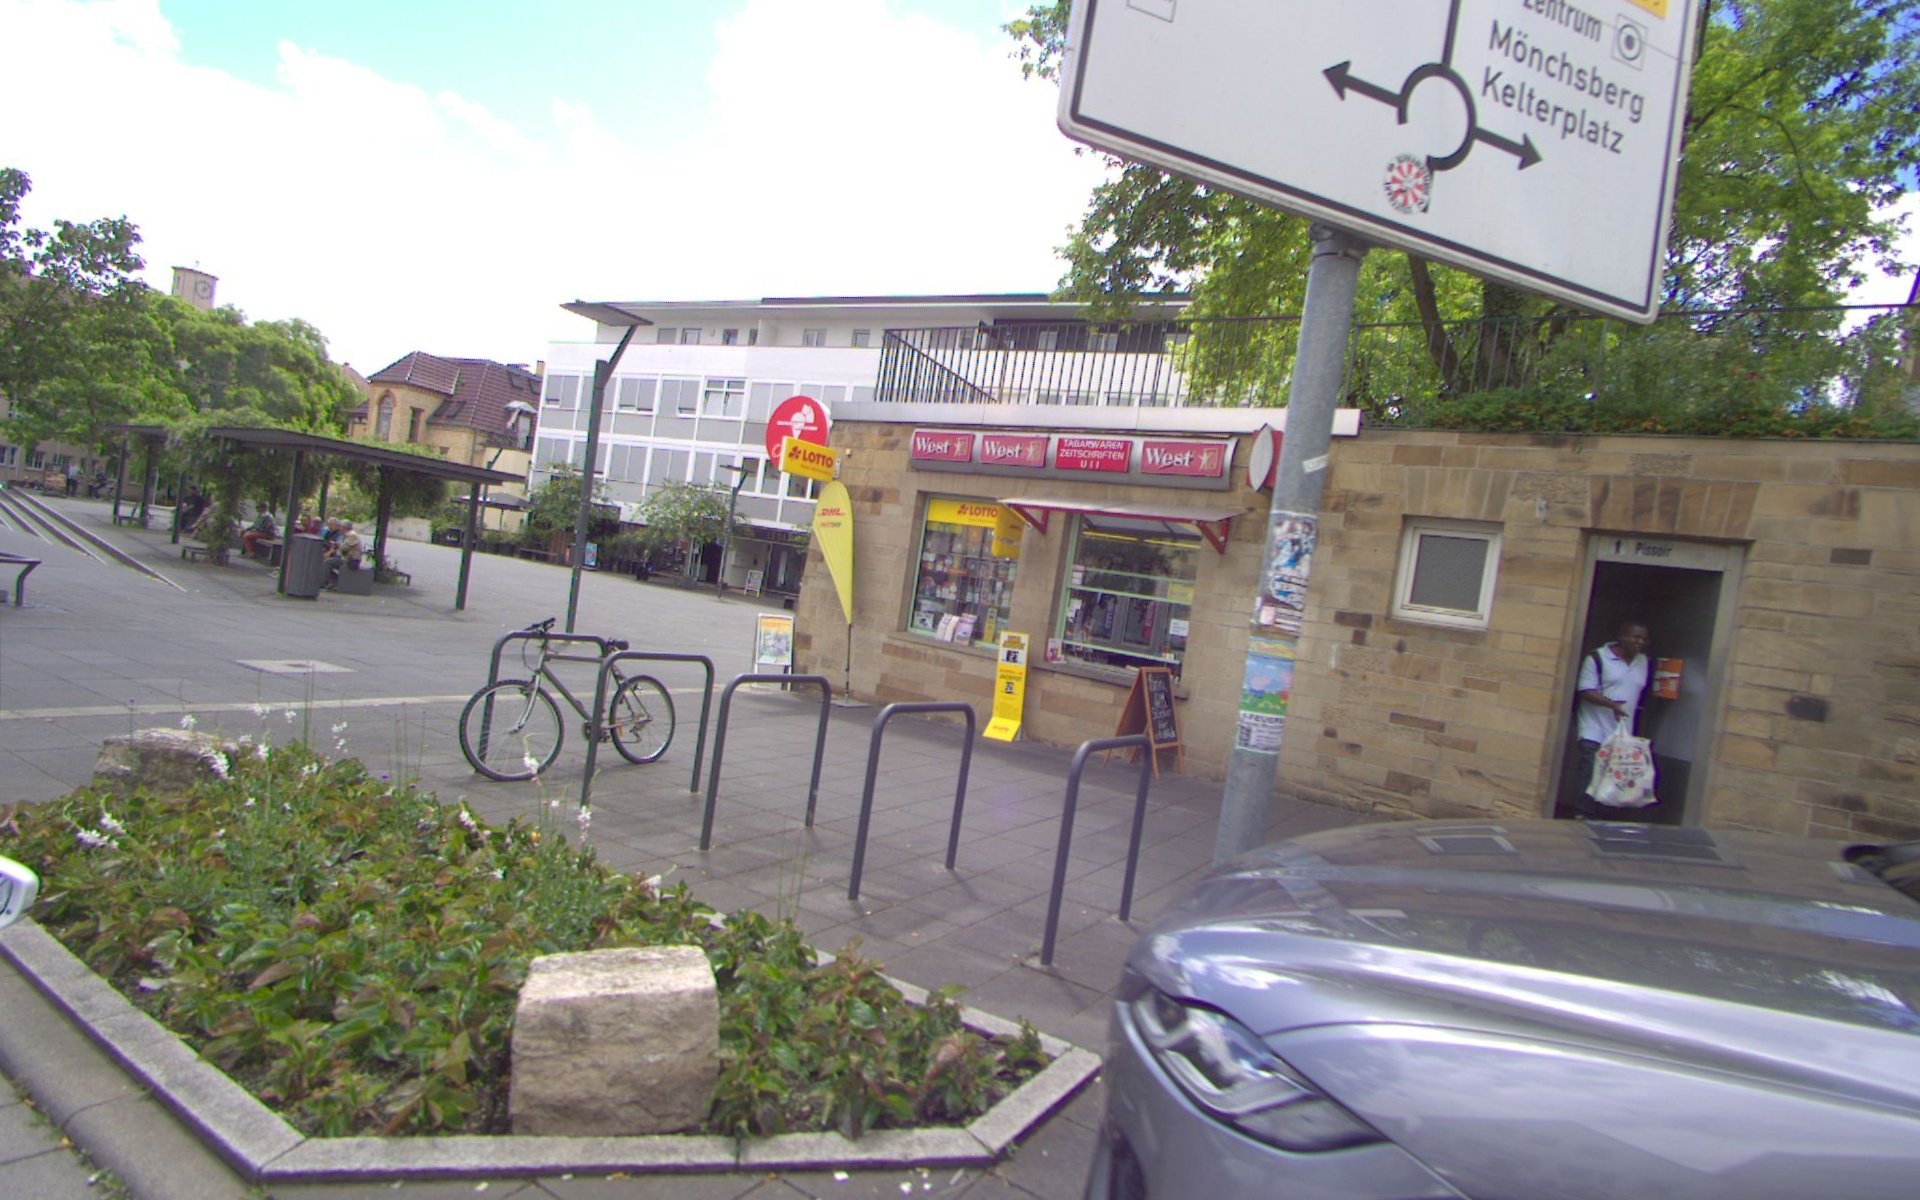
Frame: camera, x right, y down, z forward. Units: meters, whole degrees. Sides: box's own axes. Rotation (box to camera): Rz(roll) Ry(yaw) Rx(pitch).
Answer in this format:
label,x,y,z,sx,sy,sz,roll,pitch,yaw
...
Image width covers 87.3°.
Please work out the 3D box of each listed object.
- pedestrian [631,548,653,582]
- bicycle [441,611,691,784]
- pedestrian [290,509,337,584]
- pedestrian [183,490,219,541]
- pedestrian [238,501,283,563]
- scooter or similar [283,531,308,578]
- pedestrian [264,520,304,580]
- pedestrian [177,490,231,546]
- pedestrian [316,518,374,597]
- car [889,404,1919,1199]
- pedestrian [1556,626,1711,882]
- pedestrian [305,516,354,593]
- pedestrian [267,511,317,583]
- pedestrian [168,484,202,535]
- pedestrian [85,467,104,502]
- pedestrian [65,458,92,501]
label,x,y,z,sx,sy,sz,roll,pitch,yaw
pedestrian,-13.458,-1.469,42.609,0.535,1.339,0.570,8,0,9
bicycle,-2.607,0.626,6.875,0.339,1.008,1.730,7,1,26
pedestrian,-12.348,-1.022,19.220,0.517,1.338,0.497,11,3,40
pedestrian,-19.871,-2.205,26.338,0.559,1.242,0.566,8,0,45
pedestrian,-16.022,-1.558,23.028,0.538,1.324,0.623,9,2,39
scooter or similar,-13.526,-0.935,20.485,0.246,0.905,0.504,7,3,-24
pedestrian,-13.375,-0.996,19.917,0.363,1.103,0.475,11,3,39
pedestrian,-19.259,-2.077,25.641,0.758,1.284,0.675,8,0,-9
pedestrian,-11.279,-0.778,18.455,0.577,1.338,0.615,11,3,38
car,2.334,0.884,1.187,4.495,1.745,1.932,7,0,29
pedestrian,5.095,1.119,7.619,0.751,1.753,0.595,8,3,37
pedestrian,-11.835,-0.857,18.874,0.566,1.338,0.494,11,3,39
pedestrian,-13.010,-1.033,19.606,0.533,1.278,0.567,11,3,39
pedestrian,-21.889,-2.551,28.404,0.538,1.339,0.566,8,0,45
pedestrian,-33.735,-4.500,39.195,0.632,1.301,0.362,9,2,40
pedestrian,-33.698,-4.604,38.450,0.445,1.527,0.504,8,1,16
